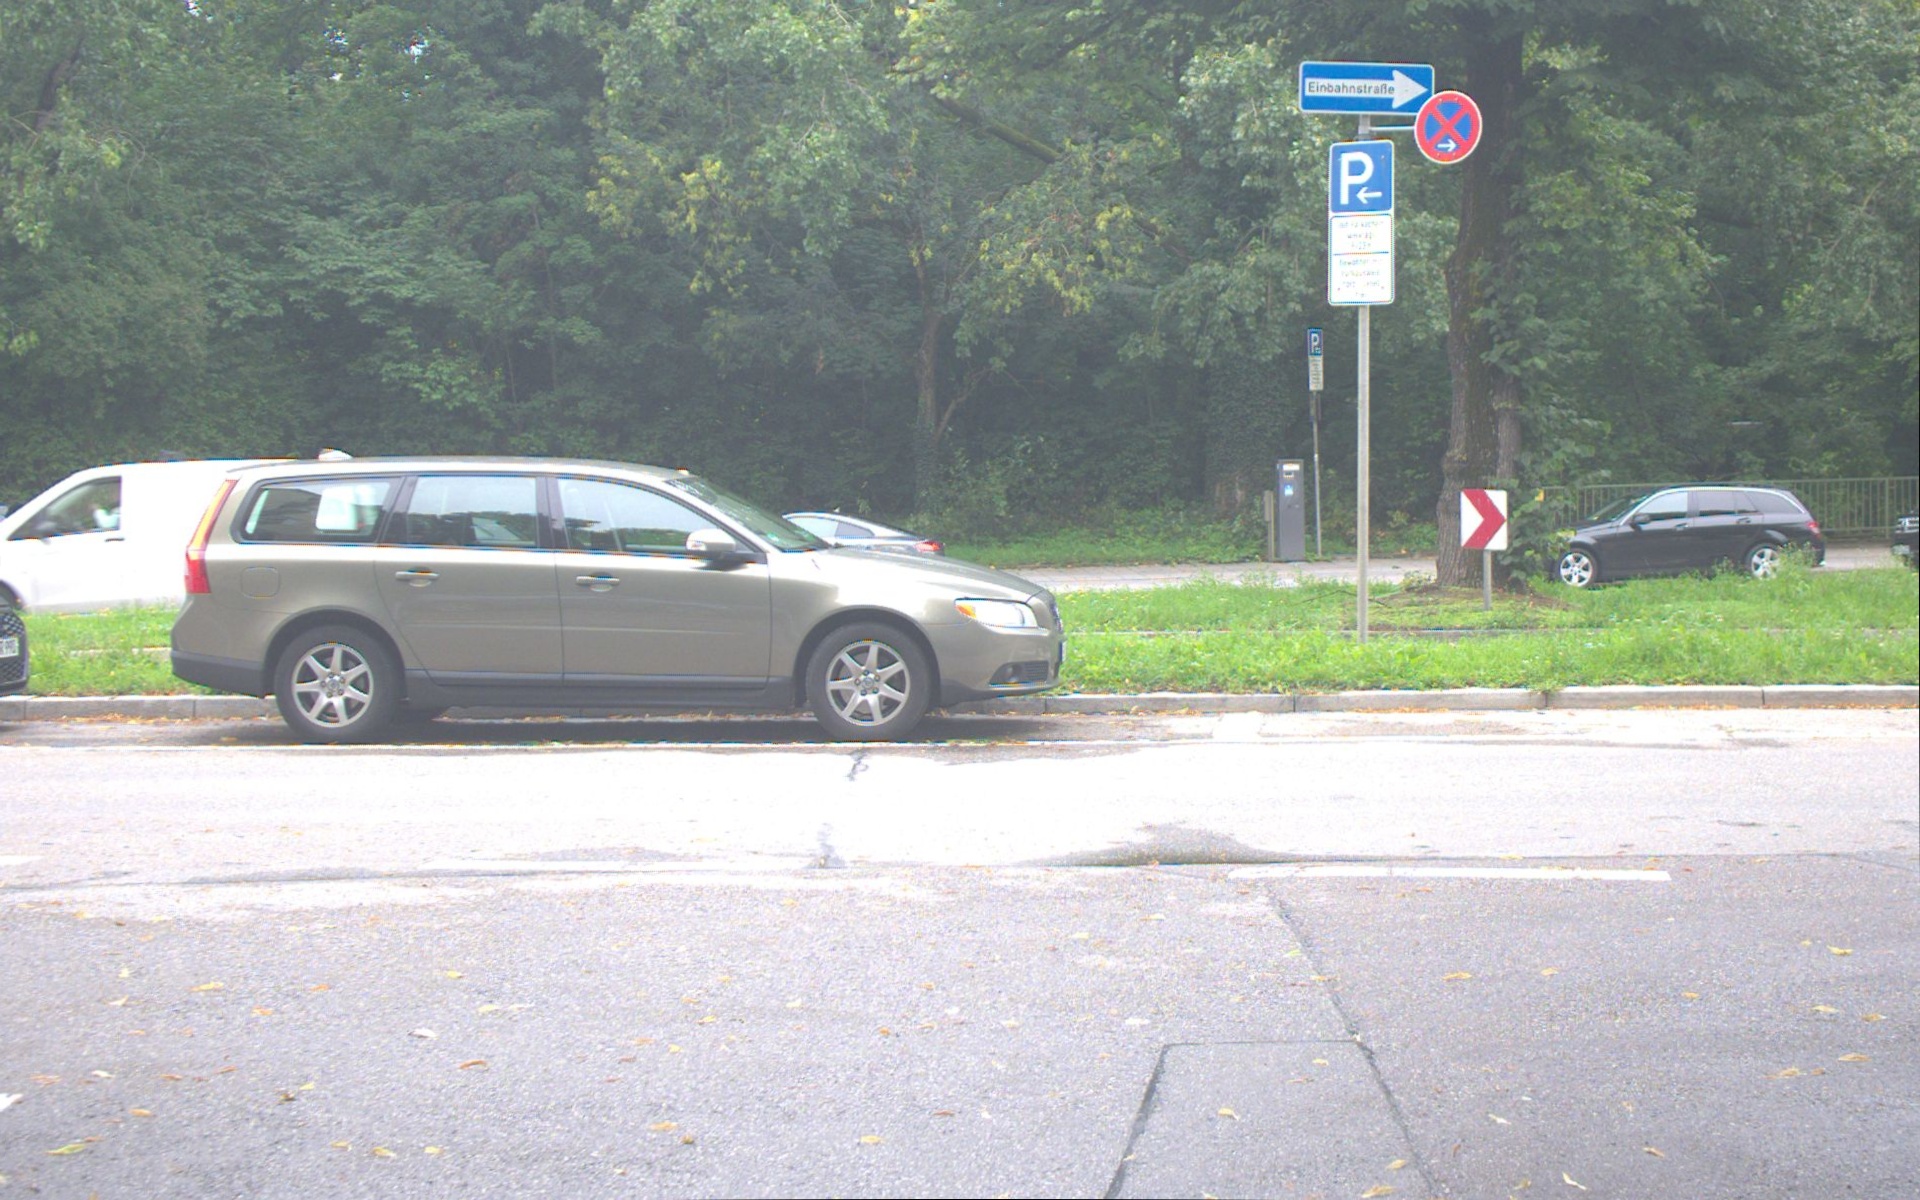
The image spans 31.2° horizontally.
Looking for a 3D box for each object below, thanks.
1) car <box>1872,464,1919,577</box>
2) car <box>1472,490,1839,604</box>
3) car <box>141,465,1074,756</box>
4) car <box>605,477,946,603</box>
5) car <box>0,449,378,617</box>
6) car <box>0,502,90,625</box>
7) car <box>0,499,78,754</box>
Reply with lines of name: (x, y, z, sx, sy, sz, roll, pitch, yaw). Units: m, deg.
car: (15.625, -1.159, 48.342, 5.028, 1.560, 2.001, -1, 2, -9)
car: (9.617, -0.753, 47.665, 4.580, 1.466, 1.932, -1, 2, -9)
car: (-1.814, 0.025, 18.720, 4.802, 1.490, 1.842, 0, 2, 4)
car: (-2.464, -0.819, 45.991, 4.434, 1.573, 1.932, -1, 2, -3)
car: (-8.493, -0.710, 36.228, 4.504, 1.662, 1.932, -1, 2, -5)
car: (-13.895, -0.468, 45.326, 4.433, 1.573, 1.932, -1, 2, -5)
car: (-7.333, 0.164, 19.095, 4.349, 1.375, 1.769, -1, 2, 7)
